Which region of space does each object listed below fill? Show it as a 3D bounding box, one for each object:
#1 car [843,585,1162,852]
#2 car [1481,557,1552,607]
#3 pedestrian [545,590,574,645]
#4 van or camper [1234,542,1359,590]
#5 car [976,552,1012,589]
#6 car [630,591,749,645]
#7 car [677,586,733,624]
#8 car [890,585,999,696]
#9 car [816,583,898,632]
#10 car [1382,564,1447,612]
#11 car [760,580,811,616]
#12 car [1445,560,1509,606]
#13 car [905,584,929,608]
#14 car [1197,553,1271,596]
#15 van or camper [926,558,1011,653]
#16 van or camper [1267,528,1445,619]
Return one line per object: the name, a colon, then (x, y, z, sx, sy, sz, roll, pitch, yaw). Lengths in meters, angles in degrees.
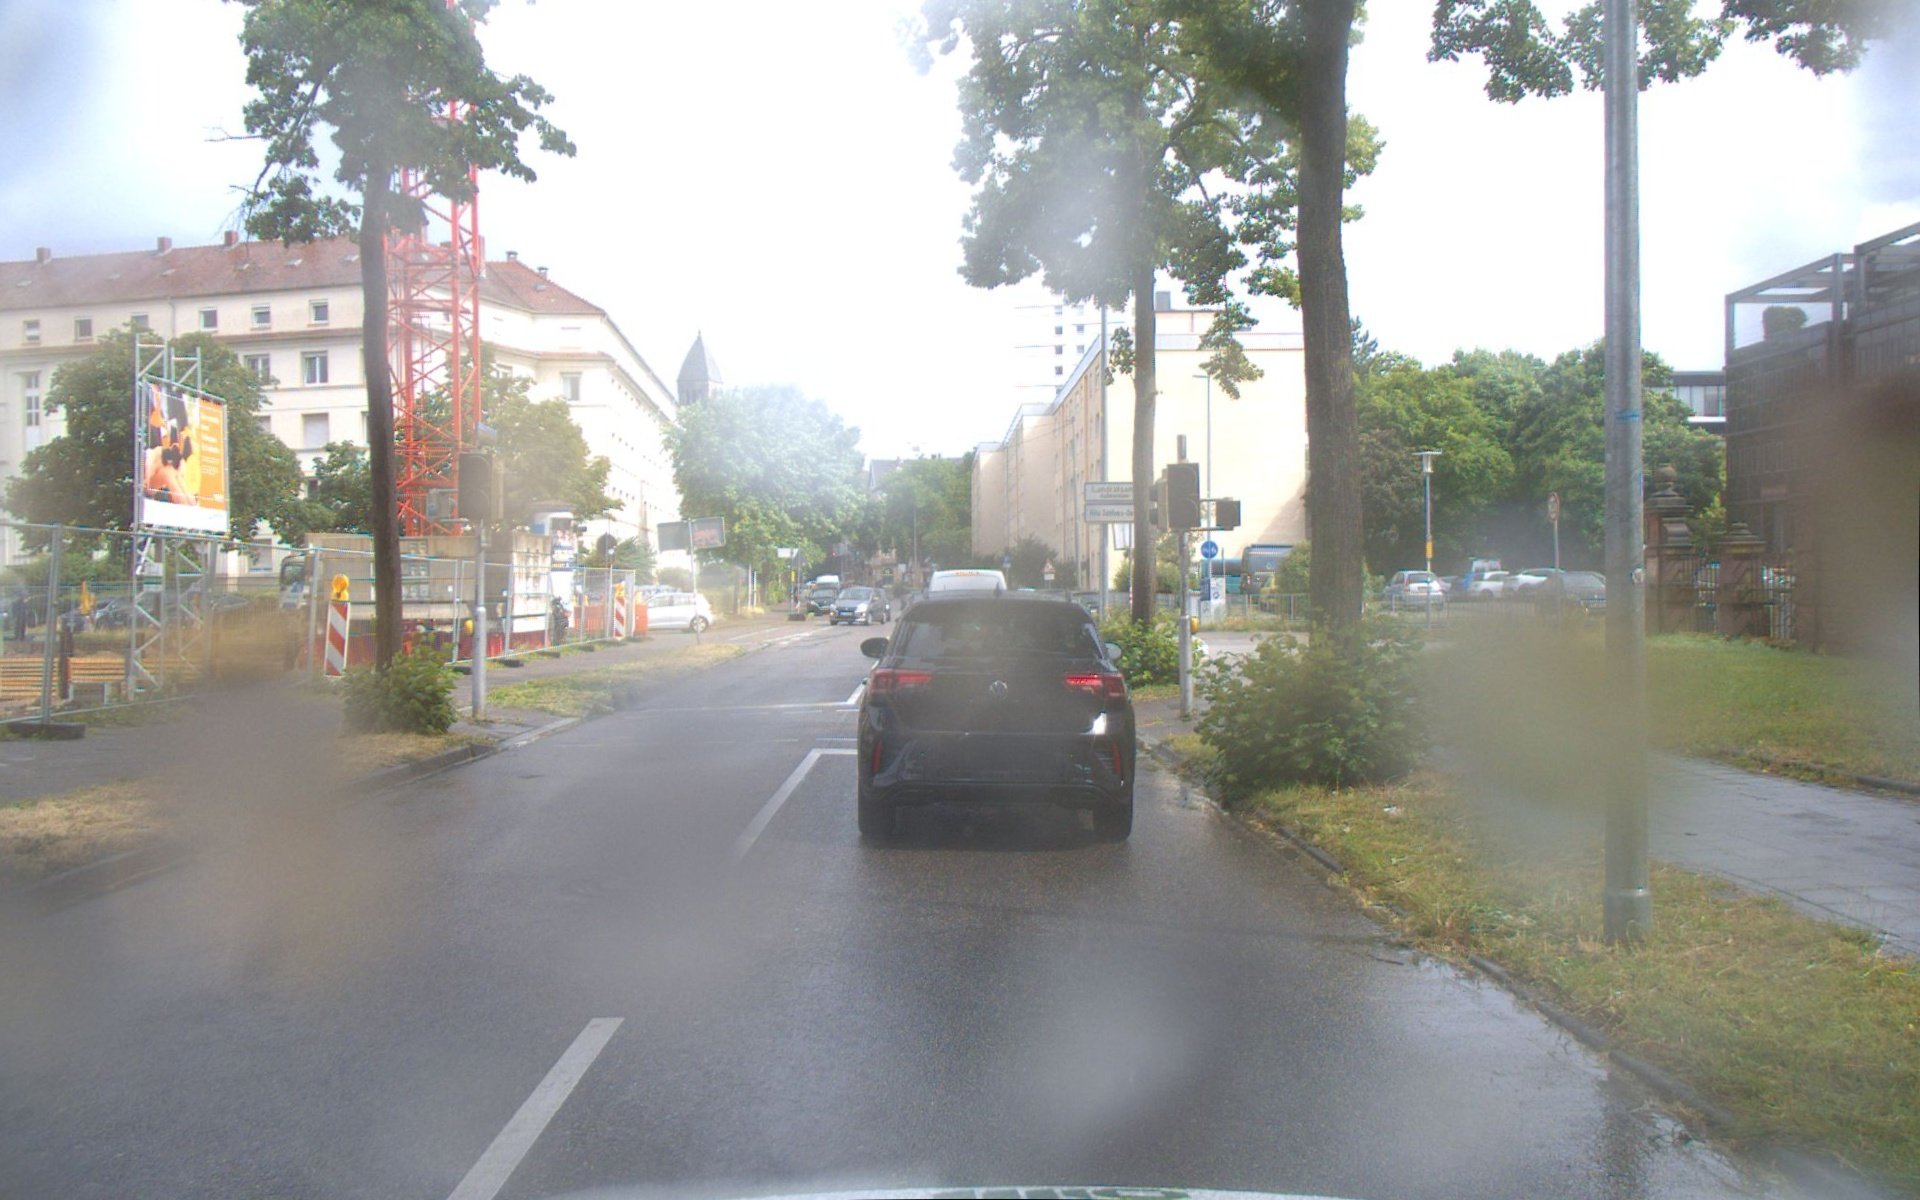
car: (0.243, 0.674, 11.648, 1.856, 1.549, 4.000, 0, 0, 0)
car: (25.181, -0.808, 74.978, 1.952, 2.048, 4.002, -4, 0, 3)
pedestrian: (-11.211, 0.495, 46.290, 0.652, 1.511, 0.667, -1, 1, -25)
van or camper: (13.956, -1.416, 68.775, 4.775, 1.959, 2.131, 0, 1, 0)
car: (1.987, -1.703, 96.535, 1.953, 2.049, 3.999, 0, 0, -1)
car: (-9.832, 0.655, 60.252, 3.878, 1.679, 1.744, -4, 0, -28)
car: (-11.490, 0.191, 74.763, 1.557, 1.538, 3.734, -4, 1, 5)
car: (-0.211, 0.673, 29.352, 1.645, 1.738, 3.911, -3, 0, 2)
car: (-4.100, 0.266, 66.845, 1.751, 1.713, 4.489, -4, 1, 17)
car: (17.729, -0.481, 64.706, 1.706, 1.713, 3.873, -4, 0, 5)
car: (-8.075, -0.124, 76.837, 1.557, 1.538, 3.734, -4, 1, 5)
car: (25.057, -0.840, 80.288, 1.952, 2.048, 4.002, -4, 0, 3)
car: (-2.982, -0.295, 113.603, 1.559, 1.538, 3.730, -4, 1, -2)
car: (13.017, -1.217, 78.662, 3.335, 1.812, 1.761, -4, 0, 8)
van or camper: (0.200, 0.086, 36.499, 1.782, 1.982, 4.195, 0, 1, 1)
van or camper: (12.218, -0.822, 51.291, 4.931, 2.641, 2.167, -1, 0, -2)
